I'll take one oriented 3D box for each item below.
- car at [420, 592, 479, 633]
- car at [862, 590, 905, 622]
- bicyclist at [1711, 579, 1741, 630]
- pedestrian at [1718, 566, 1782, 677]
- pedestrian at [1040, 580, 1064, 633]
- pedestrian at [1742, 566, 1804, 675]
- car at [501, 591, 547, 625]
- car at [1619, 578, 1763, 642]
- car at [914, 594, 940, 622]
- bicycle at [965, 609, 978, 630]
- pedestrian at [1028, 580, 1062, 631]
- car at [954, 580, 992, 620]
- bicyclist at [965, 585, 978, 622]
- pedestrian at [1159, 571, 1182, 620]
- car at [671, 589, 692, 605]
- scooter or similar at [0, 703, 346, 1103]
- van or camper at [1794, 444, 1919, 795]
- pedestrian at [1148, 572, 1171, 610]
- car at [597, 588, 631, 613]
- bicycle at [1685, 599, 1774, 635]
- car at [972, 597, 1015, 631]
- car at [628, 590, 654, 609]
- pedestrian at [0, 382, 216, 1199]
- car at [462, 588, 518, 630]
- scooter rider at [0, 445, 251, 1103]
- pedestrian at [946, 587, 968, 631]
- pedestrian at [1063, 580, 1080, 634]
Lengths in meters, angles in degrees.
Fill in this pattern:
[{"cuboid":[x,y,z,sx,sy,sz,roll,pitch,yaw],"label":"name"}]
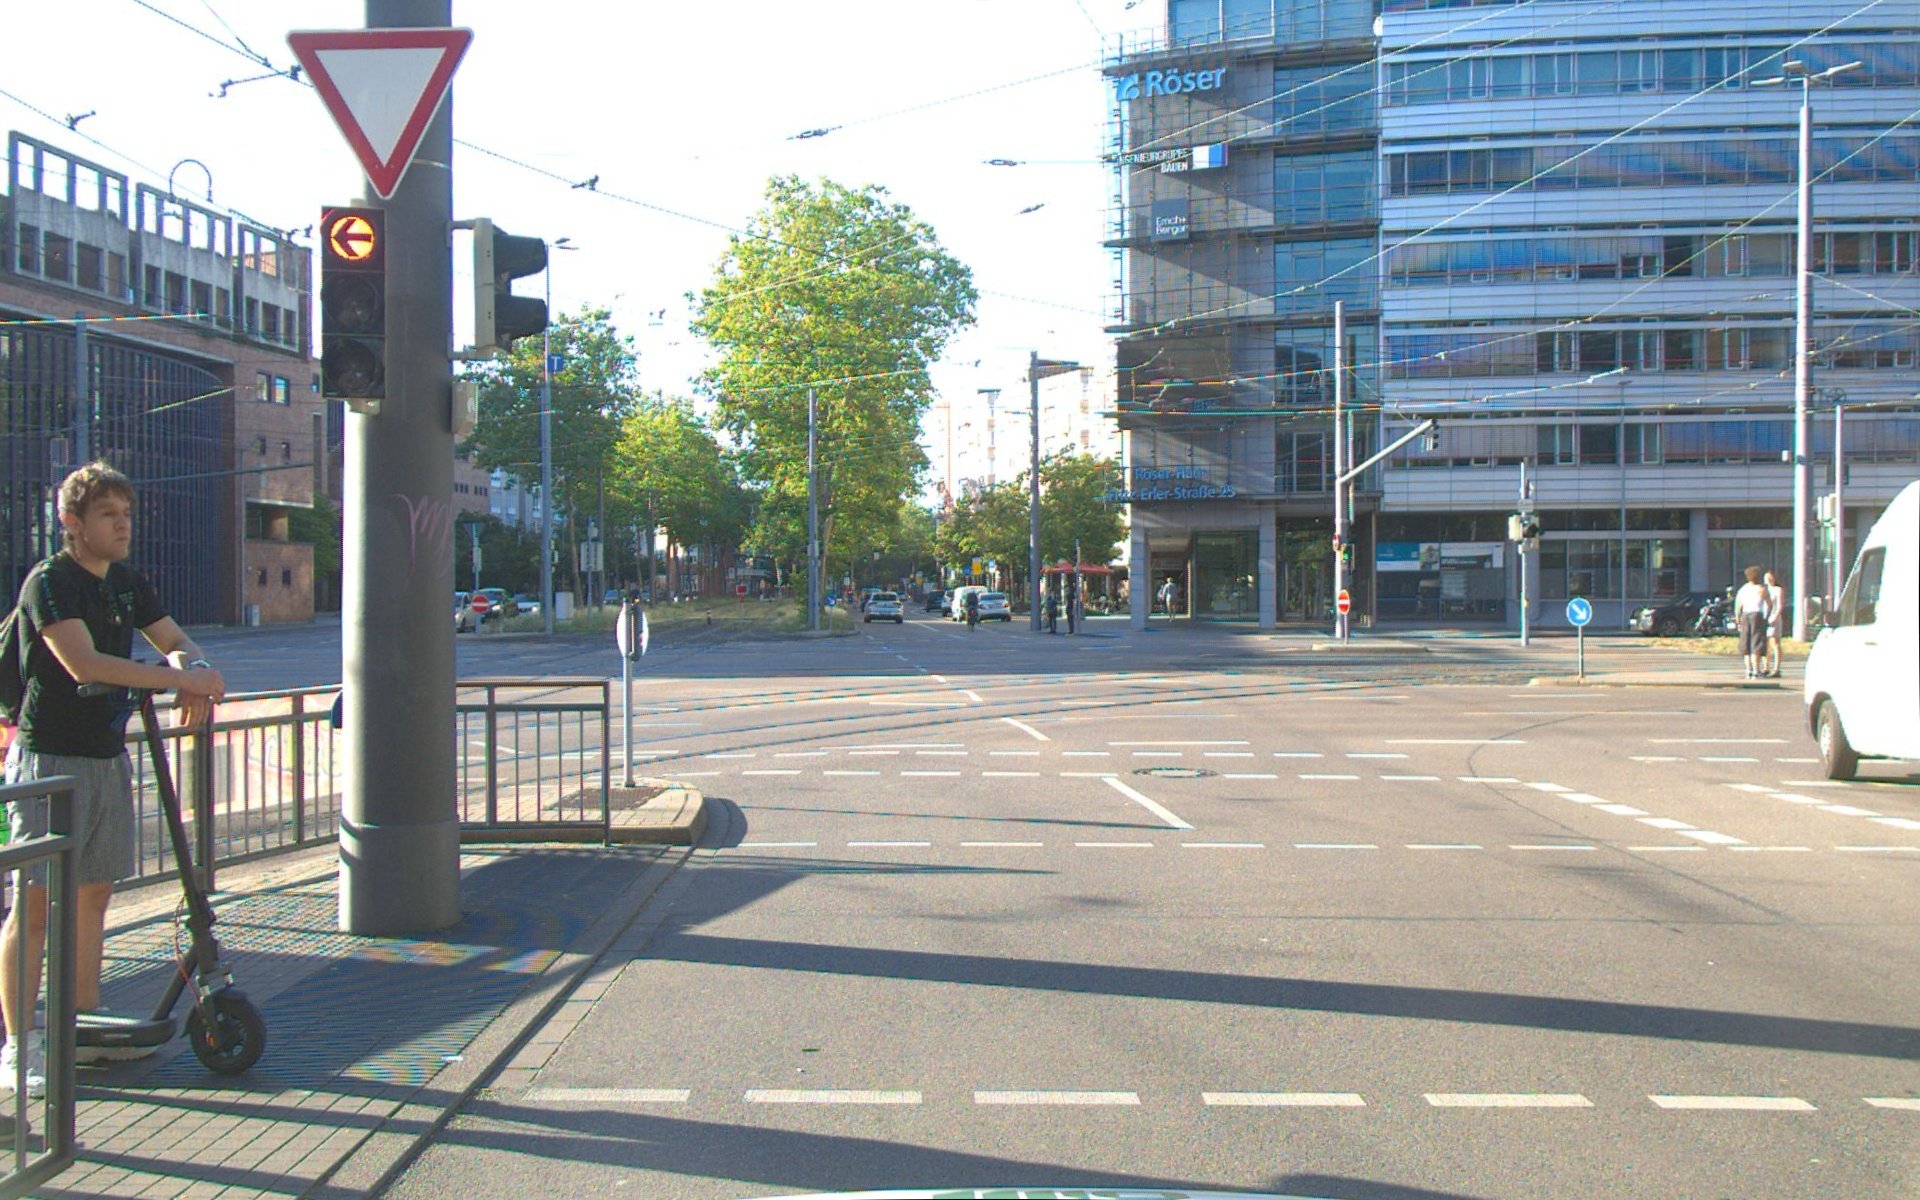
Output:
[{"cuboid":[-20.622,0.477,66.949,1.591,1.604,3.994,-1,0,-7],"label":"car"},{"cuboid":[-3.555,0.273,77.597,1.712,1.443,4.001,0,0,1],"label":"car"},{"cuboid":[23.077,0.137,49.840,0.649,1.529,0.613,-1,0,4],"label":"bicyclist"},{"cuboid":[13.020,0.341,27.259,0.734,1.789,0.670,-1,0,-37],"label":"pedestrian"},{"cuboid":[3.577,0.242,64.349,0.832,2.049,0.707,1,-1,-4],"label":"pedestrian"},{"cuboid":[13.628,0.333,27.734,0.734,1.789,0.676,-1,0,-38],"label":"pedestrian"},{"cuboid":[-21.979,0.413,83.495,1.644,1.635,3.994,1,0,-7],"label":"car"},{"cuboid":[24.378,0.336,55.266,3.906,2.049,2.000,1,0,-1],"label":"car"},{"cuboid":[-2.504,0.627,126.620,1.953,2.049,3.999,1,0,-1],"label":"car"},{"cuboid":[0.471,0.773,66.724,0.481,0.802,1.861,1,0,-1],"label":"bicycle"},{"cuboid":[3.397,0.217,66.228,1.315,1.984,1.011,0,0,-1],"label":"pedestrian"},{"cuboid":[0.672,0.002,89.596,1.953,2.049,3.999,1,0,-1],"label":"car"},{"cuboid":[0.472,0.144,66.644,0.477,1.465,0.615,1,0,-1],"label":"bicyclist"},{"cuboid":[8.903,-0.194,69.914,0.852,2.049,0.793,1,-2,-1],"label":"pedestrian"},{"cuboid":[-31.849,-0.369,189.100,1.807,1.814,3.999,-1,0,-1],"label":"car"},{"cuboid":[-2.609,0.895,5.085,1.177,1.100,0.648,-1,0,3],"label":"scooter or similar"},{"cuboid":[8.158,0.147,11.619,1.957,2.660,6.503,-1,0,7],"label":"van or camper"},{"cuboid":[11.715,-0.526,97.277,1.285,2.228,1.171,1,0,5],"label":"pedestrian"},{"cuboid":[-29.349,0.019,140.462,1.837,2.049,4.472,-1,0,2],"label":"car"},{"cuboid":[23.181,0.497,49.831,2.359,1.040,0.637,-1,0,4],"label":"bicycle"},{"cuboid":[1.637,0.695,82.807,1.988,1.624,3.999,1,0,-1],"label":"car"},{"cuboid":[-32.803,-0.058,170.130,1.871,1.814,3.999,-1,0,-1],"label":"car"},{"cuboid":[-2.654,0.478,4.143,1.143,1.917,0.855,-1,0,4],"label":"pedestrian"},{"cuboid":[-21.203,0.386,74.740,1.787,1.821,3.994,-1,0,-7],"label":"car"},{"cuboid":[-2.631,0.506,5.111,0.554,1.885,0.680,-1,-2,4],"label":"scooter rider"},{"cuboid":[-0.112,0.361,67.389,0.852,1.737,0.793,1,-1,-1],"label":"pedestrian"},{"cuboid":[4.233,0.263,62.780,0.574,2.049,0.620,1,-1,0],"label":"pedestrian"}]
